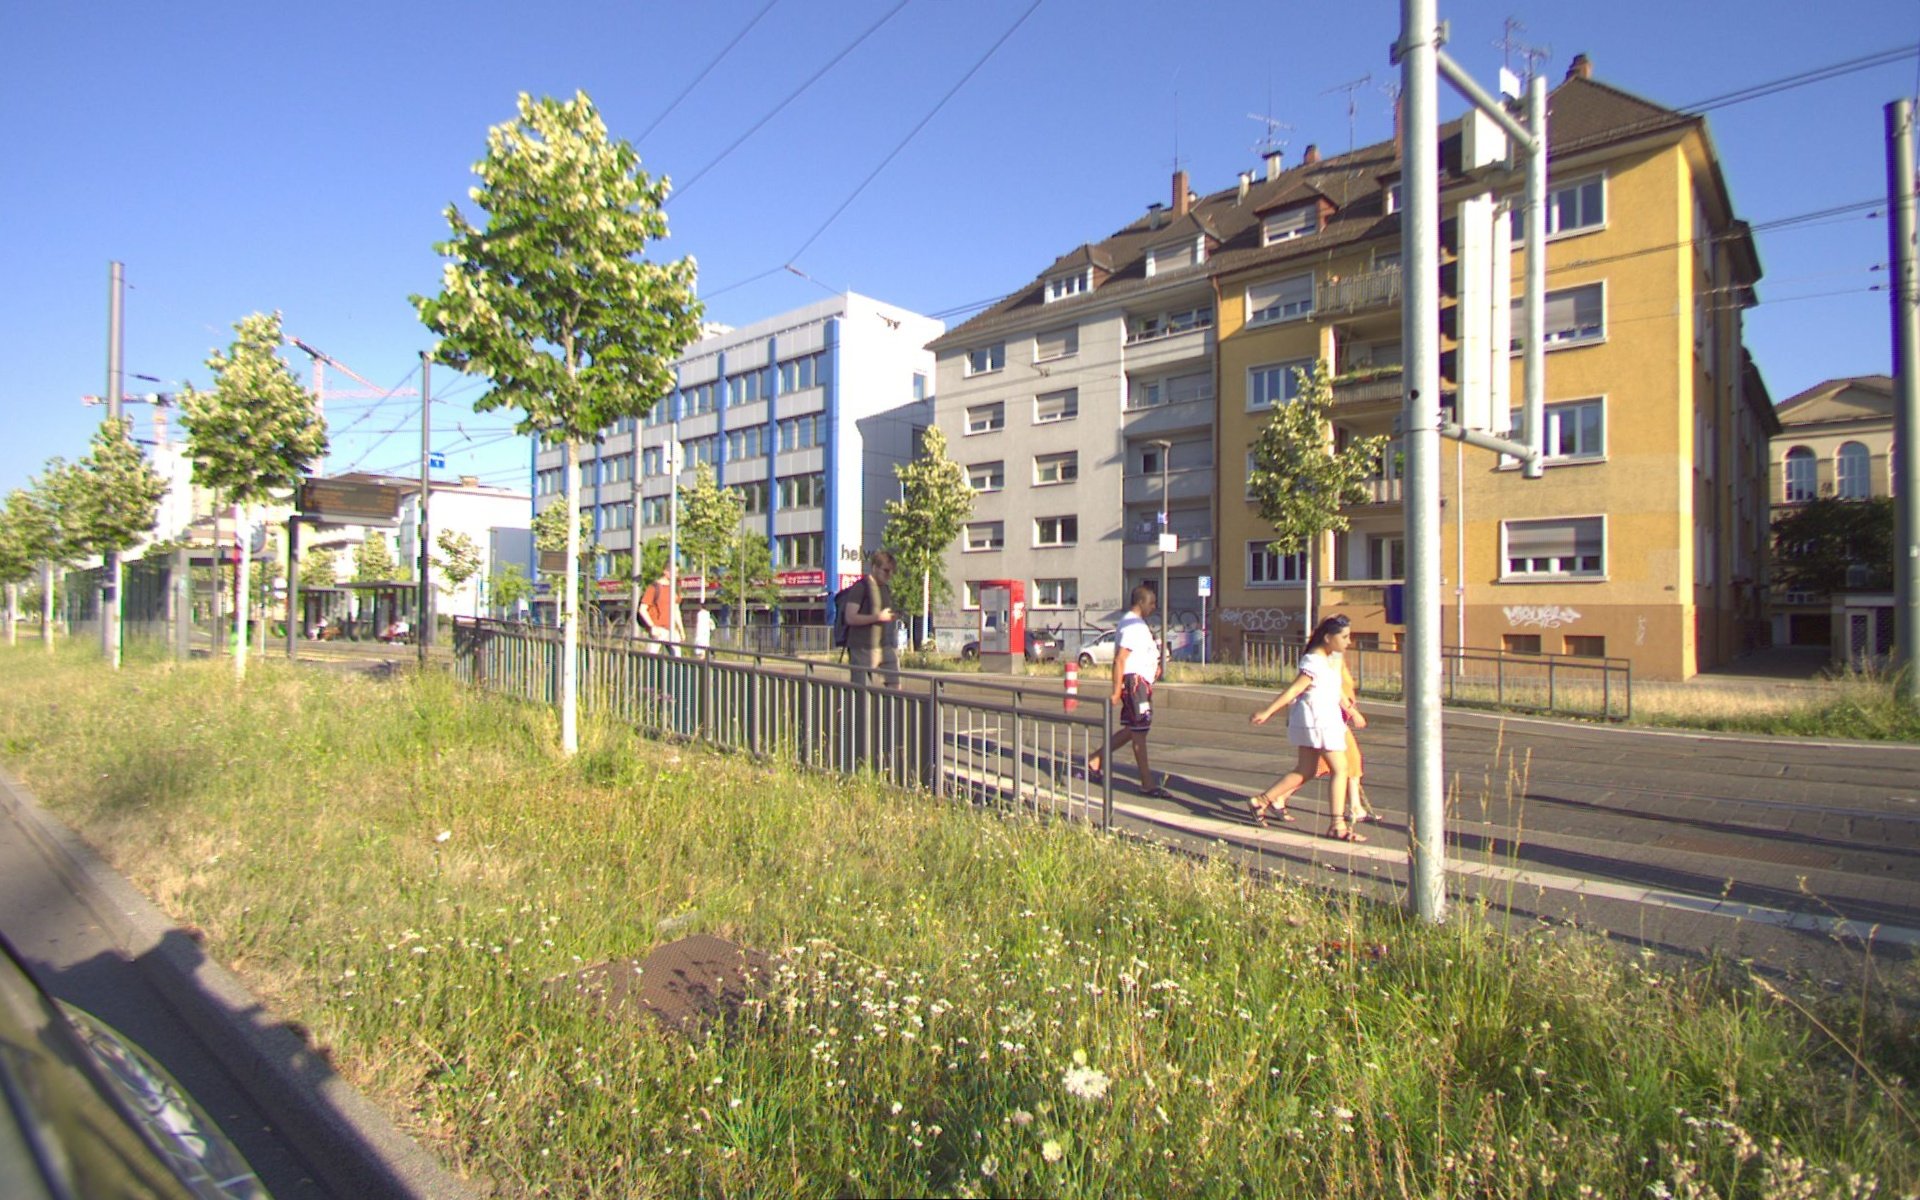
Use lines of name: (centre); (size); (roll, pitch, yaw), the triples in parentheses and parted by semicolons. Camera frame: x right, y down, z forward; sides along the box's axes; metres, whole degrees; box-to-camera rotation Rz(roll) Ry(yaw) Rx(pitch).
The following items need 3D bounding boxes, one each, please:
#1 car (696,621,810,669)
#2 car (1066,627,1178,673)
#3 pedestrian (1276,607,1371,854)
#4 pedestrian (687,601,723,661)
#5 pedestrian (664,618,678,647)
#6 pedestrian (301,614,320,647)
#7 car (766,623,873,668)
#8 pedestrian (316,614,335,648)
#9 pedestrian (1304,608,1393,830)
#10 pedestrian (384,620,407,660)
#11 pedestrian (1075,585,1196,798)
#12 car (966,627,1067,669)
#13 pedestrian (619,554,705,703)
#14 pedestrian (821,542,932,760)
car: (-7.223, 1.521, 35.143); (3.941, 1.519, 1.861); (-1, 0, 41)
car: (5.941, 1.815, 37.360); (3.672, 1.519, 1.861); (-1, 0, 41)
pedestrian: (2.290, 0.782, 6.412); (0.520, 1.467, 0.634); (-1, 0, 18)
pedestrian: (-7.325, 0.874, 29.034); (0.620, 1.685, 0.776); (-1, 0, 44)
pedestrian: (-17.744, 1.978, 62.183); (0.636, 1.759, 0.599); (-1, 0, -42)
pedestrian: (-33.608, 1.578, 52.384); (0.772, 1.705, 0.651); (-1, 0, 44)
car: (-5.264, 1.649, 37.691); (3.941, 1.519, 1.861); (-1, 0, 41)
pedestrian: (-31.890, 1.556, 50.846); (0.650, 1.705, 0.773); (-1, 0, -43)
pedestrian: (2.669, 0.785, 6.996); (0.520, 1.442, 0.634); (-1, 0, 18)
pedestrian: (-24.599, 1.738, 44.097); (0.771, 1.705, 0.651); (-1, 0, 39)
pedestrian: (1.387, 0.667, 7.960); (0.619, 1.560, 0.777); (2, 2, 40)
car: (2.229, 1.863, 40.499); (3.672, 1.519, 1.861); (-1, 0, 41)
pedestrian: (-3.558, 0.328, 12.101); (0.620, 1.711, 0.776); (-1, 0, 44)
pedestrian: (-0.757, 0.439, 9.229); (0.620, 1.878, 0.776); (-1, 0, 44)
